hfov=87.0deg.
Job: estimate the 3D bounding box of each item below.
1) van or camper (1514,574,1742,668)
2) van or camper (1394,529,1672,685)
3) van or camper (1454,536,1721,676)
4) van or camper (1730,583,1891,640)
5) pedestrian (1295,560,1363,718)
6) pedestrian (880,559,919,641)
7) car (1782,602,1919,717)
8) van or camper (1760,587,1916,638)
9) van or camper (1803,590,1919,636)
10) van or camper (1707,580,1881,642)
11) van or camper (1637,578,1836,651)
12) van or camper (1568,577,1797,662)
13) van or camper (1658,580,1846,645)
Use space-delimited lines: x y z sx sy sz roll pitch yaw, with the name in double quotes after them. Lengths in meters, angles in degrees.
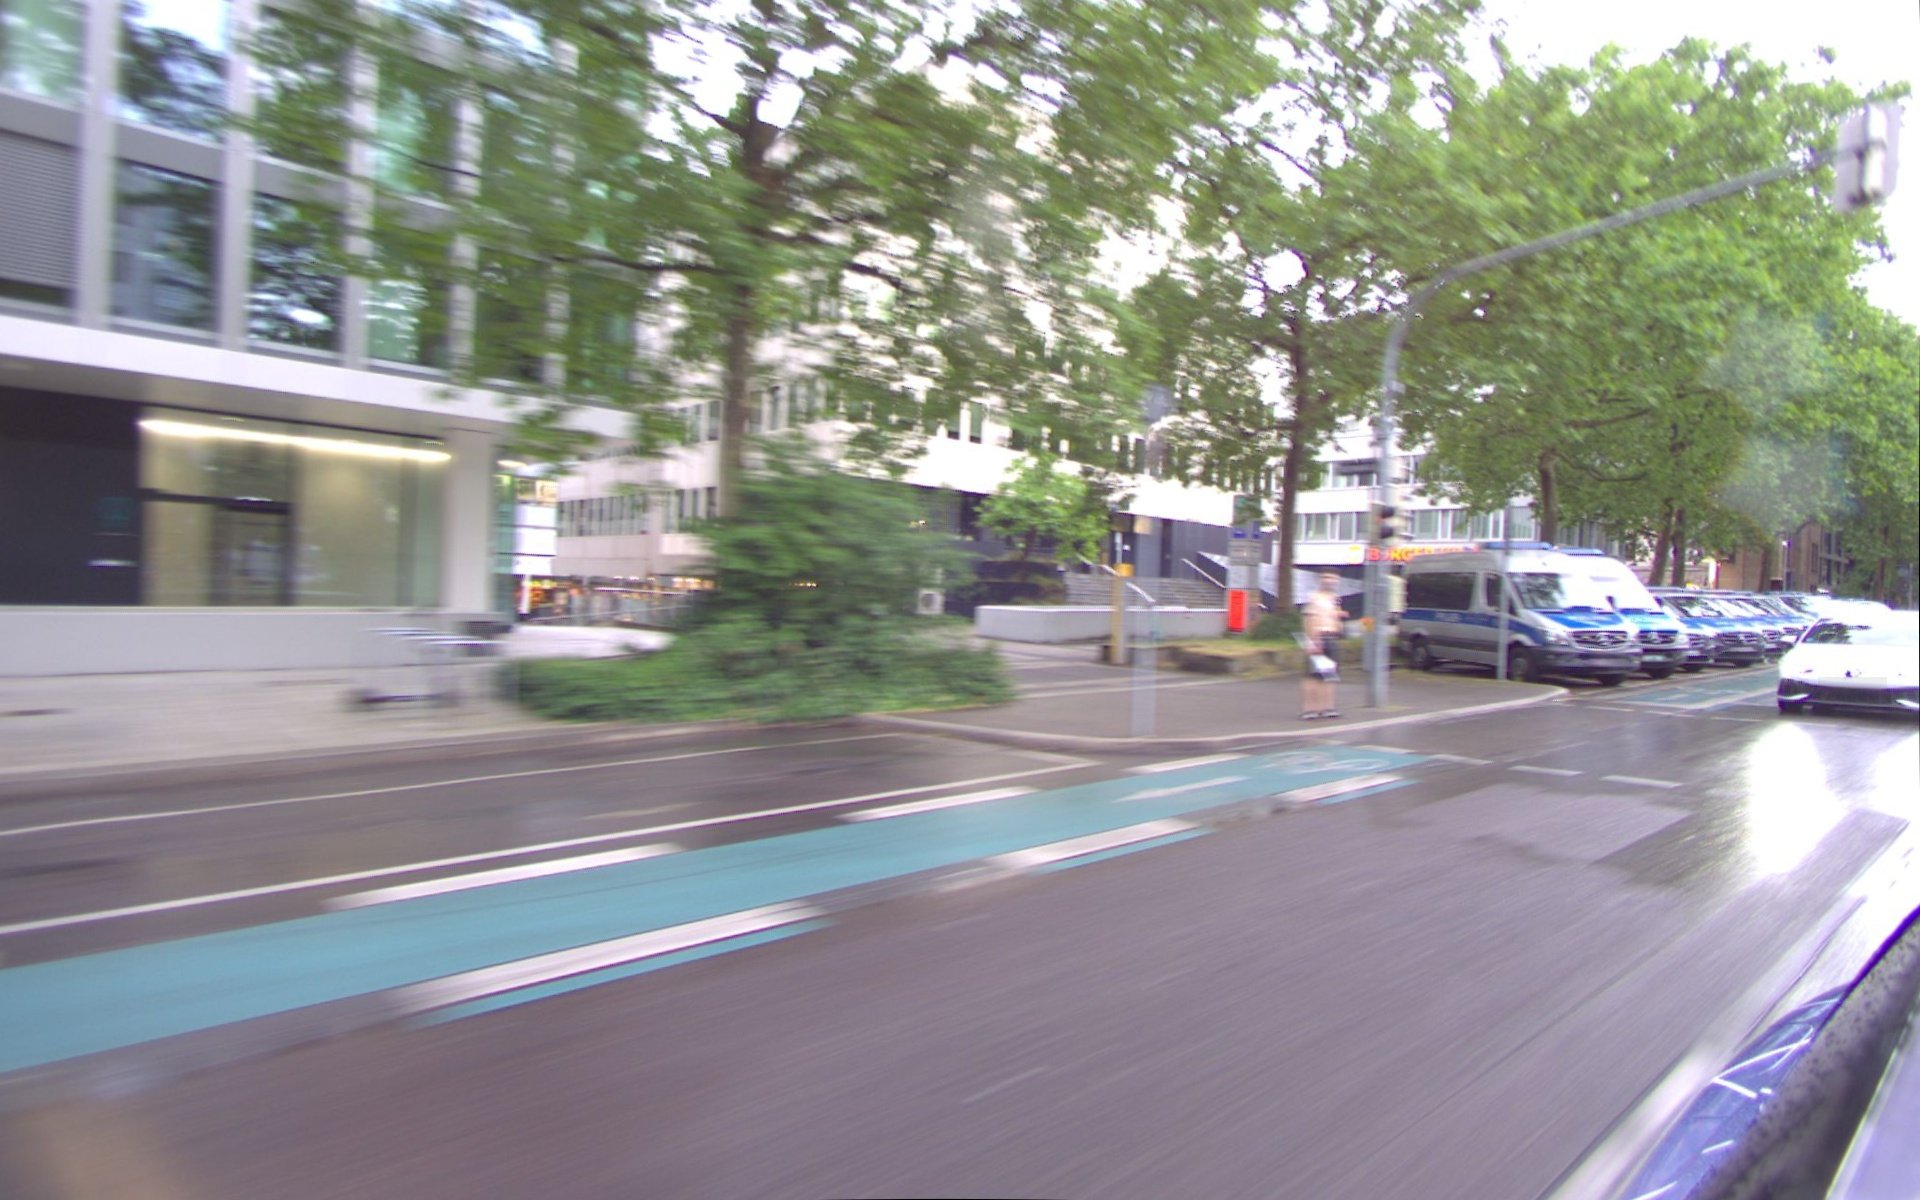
16.073 0.406 24.757 1.960 2.039 5.022 0 1 -5 "van or camper"
11.314 0.092 20.677 2.105 2.711 5.820 1 0 -3 "van or camper"
13.713 0.073 22.724 1.960 2.714 5.818 1 1 -5 "van or camper"
32.182 0.405 38.513 1.831 2.023 4.858 0 0 -4 "van or camper"
4.483 0.454 12.293 0.605 1.854 0.556 1 0 41 "pedestrian"
-1.528 -0.010 25.454 0.754 2.038 0.705 0 1 -21 "pedestrian"
13.598 0.782 14.848 4.434 1.463 1.863 1 0 -44 "car"
37.154 0.500 43.064 1.957 2.045 5.091 0 0 -4 "van or camper"
42.270 0.569 46.988 1.963 2.017 4.949 0 0 -2 "van or camper"
29.327 0.343 35.829 1.960 2.036 4.799 0 0 -4 "van or camper"
23.889 0.381 31.460 2.065 2.050 5.111 1 0 -3 "van or camper"
18.899 0.459 26.861 1.960 2.017 5.215 0 0 -6 "van or camper"
26.539 0.368 34.198 1.959 2.020 5.032 1 1 -8 "van or camper"
